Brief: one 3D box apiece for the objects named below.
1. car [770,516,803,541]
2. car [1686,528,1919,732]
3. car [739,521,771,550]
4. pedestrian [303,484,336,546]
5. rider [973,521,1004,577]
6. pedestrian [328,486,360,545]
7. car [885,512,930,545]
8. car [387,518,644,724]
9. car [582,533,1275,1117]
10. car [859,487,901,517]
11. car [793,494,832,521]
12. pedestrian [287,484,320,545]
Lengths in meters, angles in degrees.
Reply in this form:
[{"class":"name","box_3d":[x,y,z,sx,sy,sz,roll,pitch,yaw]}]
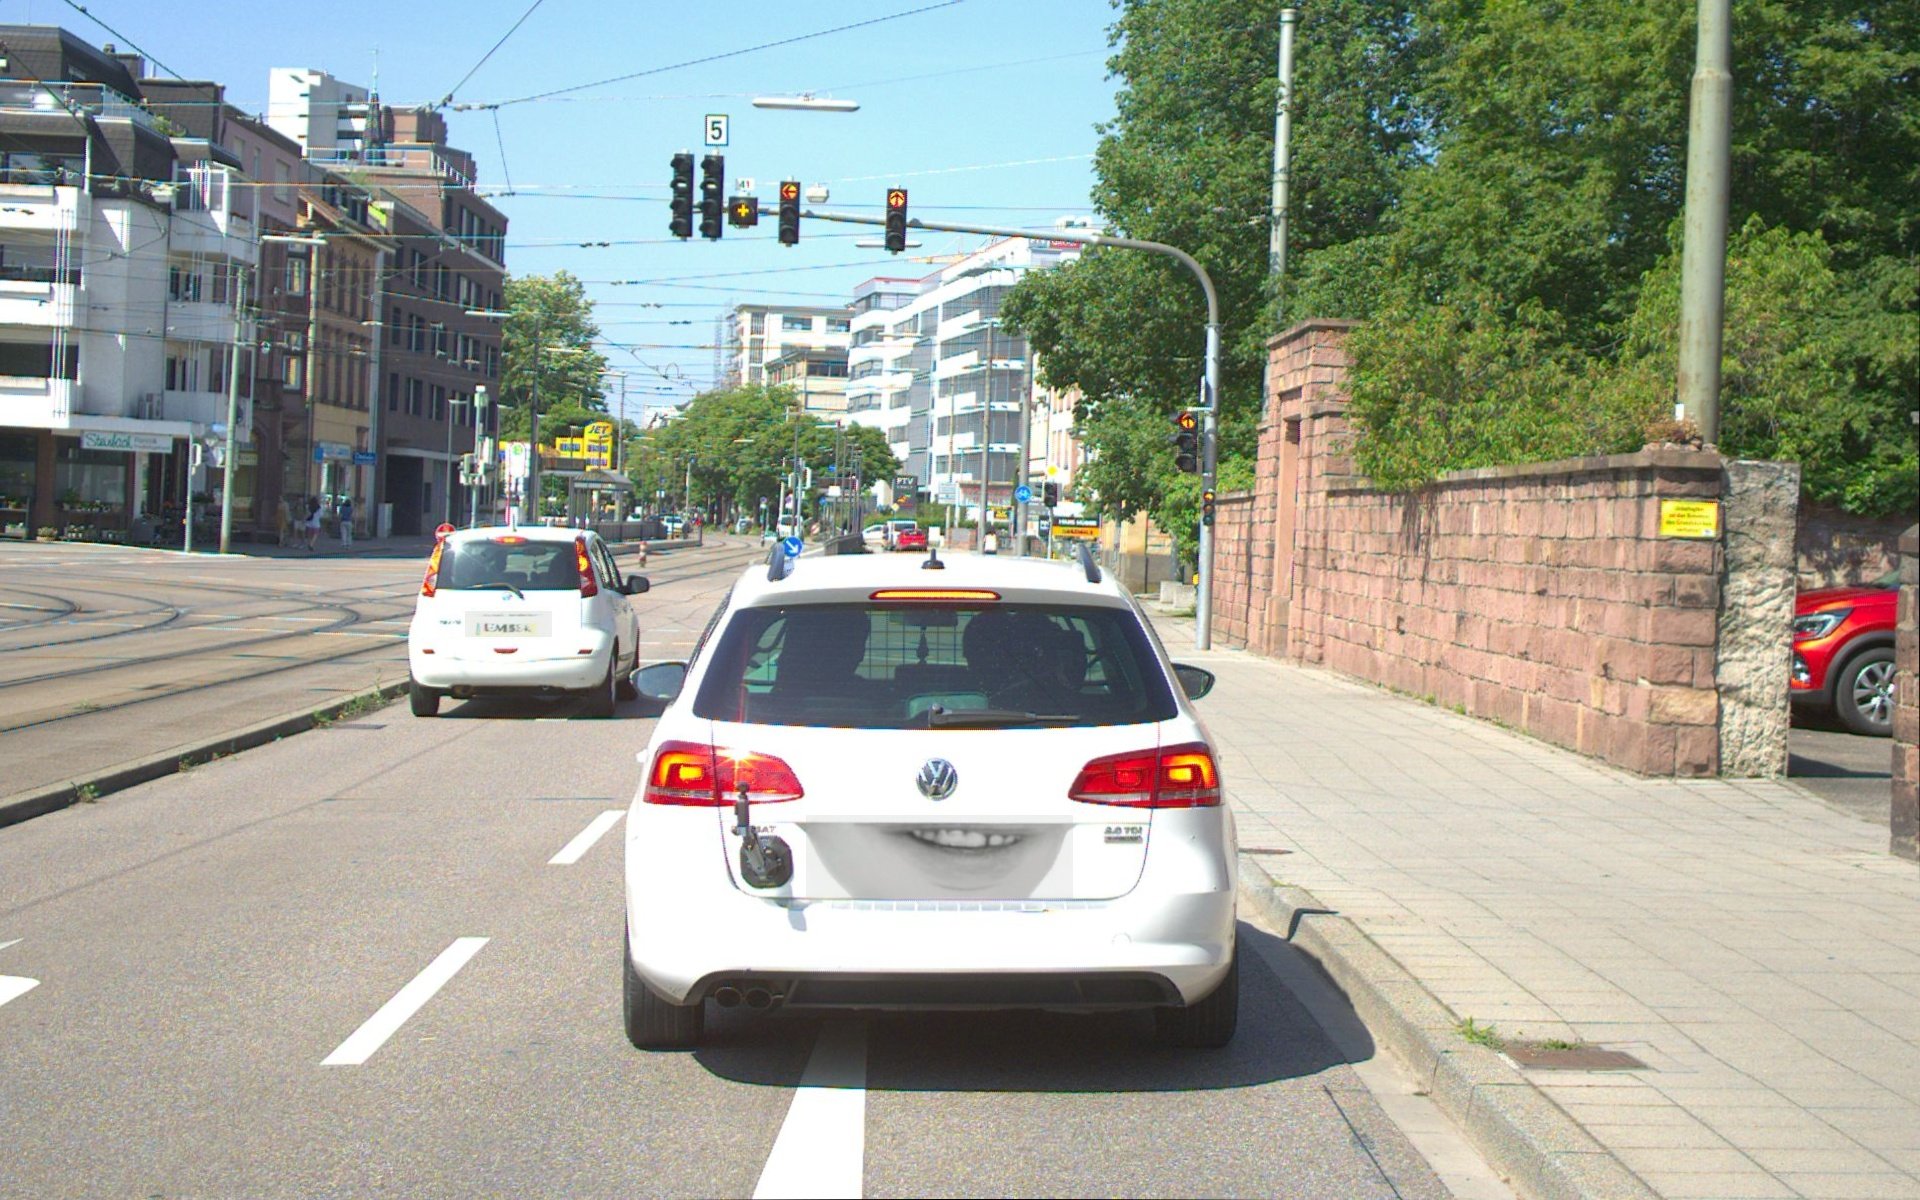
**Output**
[{"class":"car","box_3d":[-11.706,-4.797,231.542,1.698,1.585,3.536,2,1,-11]},{"class":"car","box_3d":[7.464,0.252,26.356,3.407,1.459,1.524,2,1,0]},{"class":"car","box_3d":[-11.698,-3.666,196.296,1.698,1.585,3.535,2,1,-2]},{"class":"pedestrian","box_3d":[-21.076,-2.794,113.194,0.936,2.007,0.991,2,1,-7]},{"class":"rider","box_3d":[0.907,-1.628,109.568,0.891,1.722,2.204,2,1,0]},{"class":"pedestrian","box_3d":[-21.270,-2.912,118.680,0.936,2.007,0.991,2,1,-6]},{"class":"car","box_3d":[-3.433,-4.666,223.017,1.993,2.007,4.002,2,1,-14]},{"class":"car","box_3d":[-3.737,0.120,29.490,1.730,1.590,4.011,2,1,-1]},{"class":"car","box_3d":[-0.079,0.547,10.839,1.778,1.485,3.847,1,1,0]},{"class":"car","box_3d":[-5.533,-6.782,237.157,1.993,2.007,4.002,2,1,-14]},{"class":"car","box_3d":[-11.121,-6.970,258.809,1.993,2.007,4.002,2,1,-15]},{"class":"pedestrian","box_3d":[-21.918,-2.842,114.708,0.936,2.007,0.991,2,1,-6]}]
